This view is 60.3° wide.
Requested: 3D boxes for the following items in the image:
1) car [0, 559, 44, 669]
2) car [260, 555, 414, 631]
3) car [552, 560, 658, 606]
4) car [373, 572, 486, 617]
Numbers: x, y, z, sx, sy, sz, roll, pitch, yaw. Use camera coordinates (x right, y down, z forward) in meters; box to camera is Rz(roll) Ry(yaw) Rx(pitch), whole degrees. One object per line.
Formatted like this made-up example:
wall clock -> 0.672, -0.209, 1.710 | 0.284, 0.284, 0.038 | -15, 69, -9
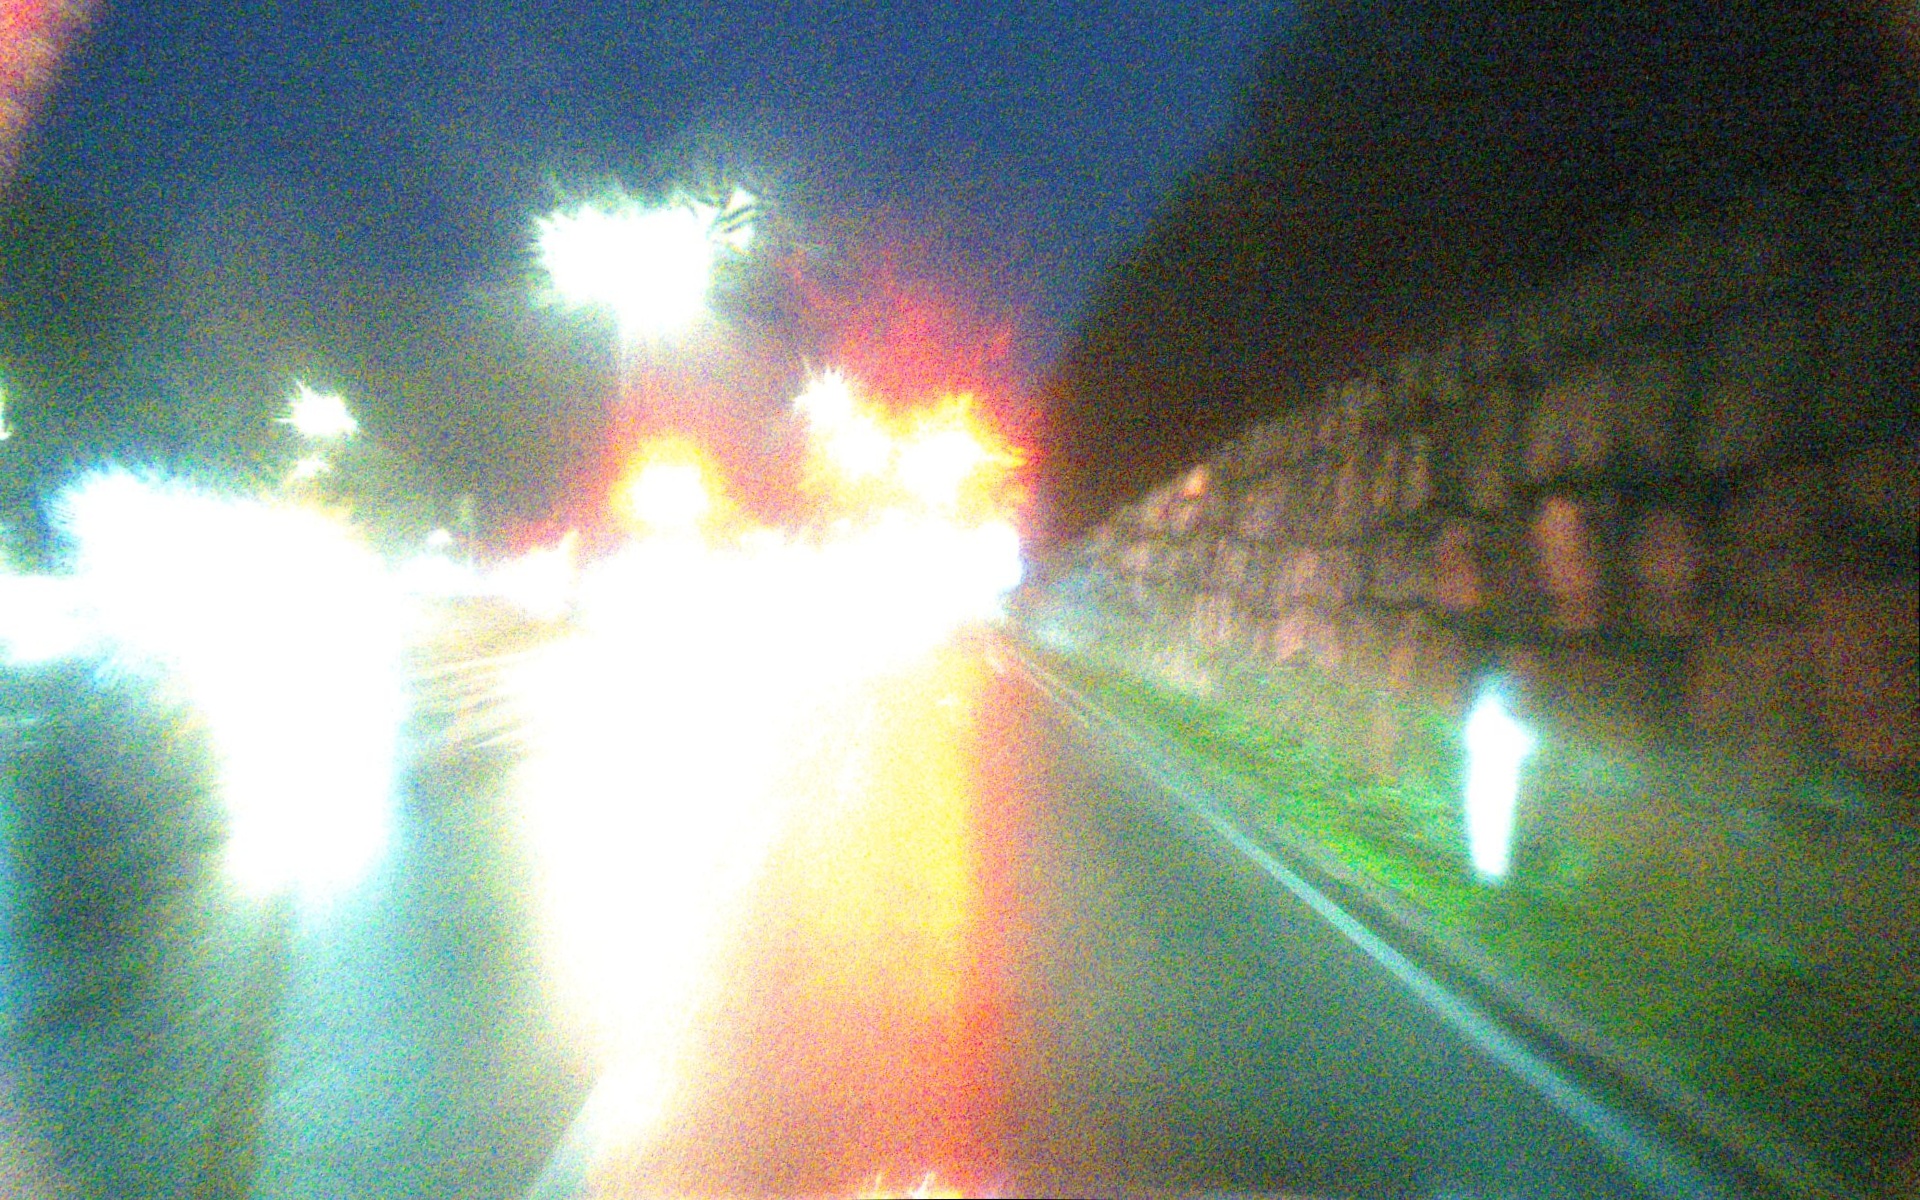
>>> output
car -> -13.207, 0.181, 20.285 | 1.839, 1.422, 4.245 | 1, 0, -5
car -> -13.852, -0.181, 37.070 | 1.954, 1.534, 4.553 | 1, 1, -4
car -> -13.892, -0.661, 64.881 | 3.913, 1.691, 1.996 | 1, 0, -9
car -> -21.124, -0.231, 65.986 | 3.910, 1.691, 1.998 | 1, 0, -6
